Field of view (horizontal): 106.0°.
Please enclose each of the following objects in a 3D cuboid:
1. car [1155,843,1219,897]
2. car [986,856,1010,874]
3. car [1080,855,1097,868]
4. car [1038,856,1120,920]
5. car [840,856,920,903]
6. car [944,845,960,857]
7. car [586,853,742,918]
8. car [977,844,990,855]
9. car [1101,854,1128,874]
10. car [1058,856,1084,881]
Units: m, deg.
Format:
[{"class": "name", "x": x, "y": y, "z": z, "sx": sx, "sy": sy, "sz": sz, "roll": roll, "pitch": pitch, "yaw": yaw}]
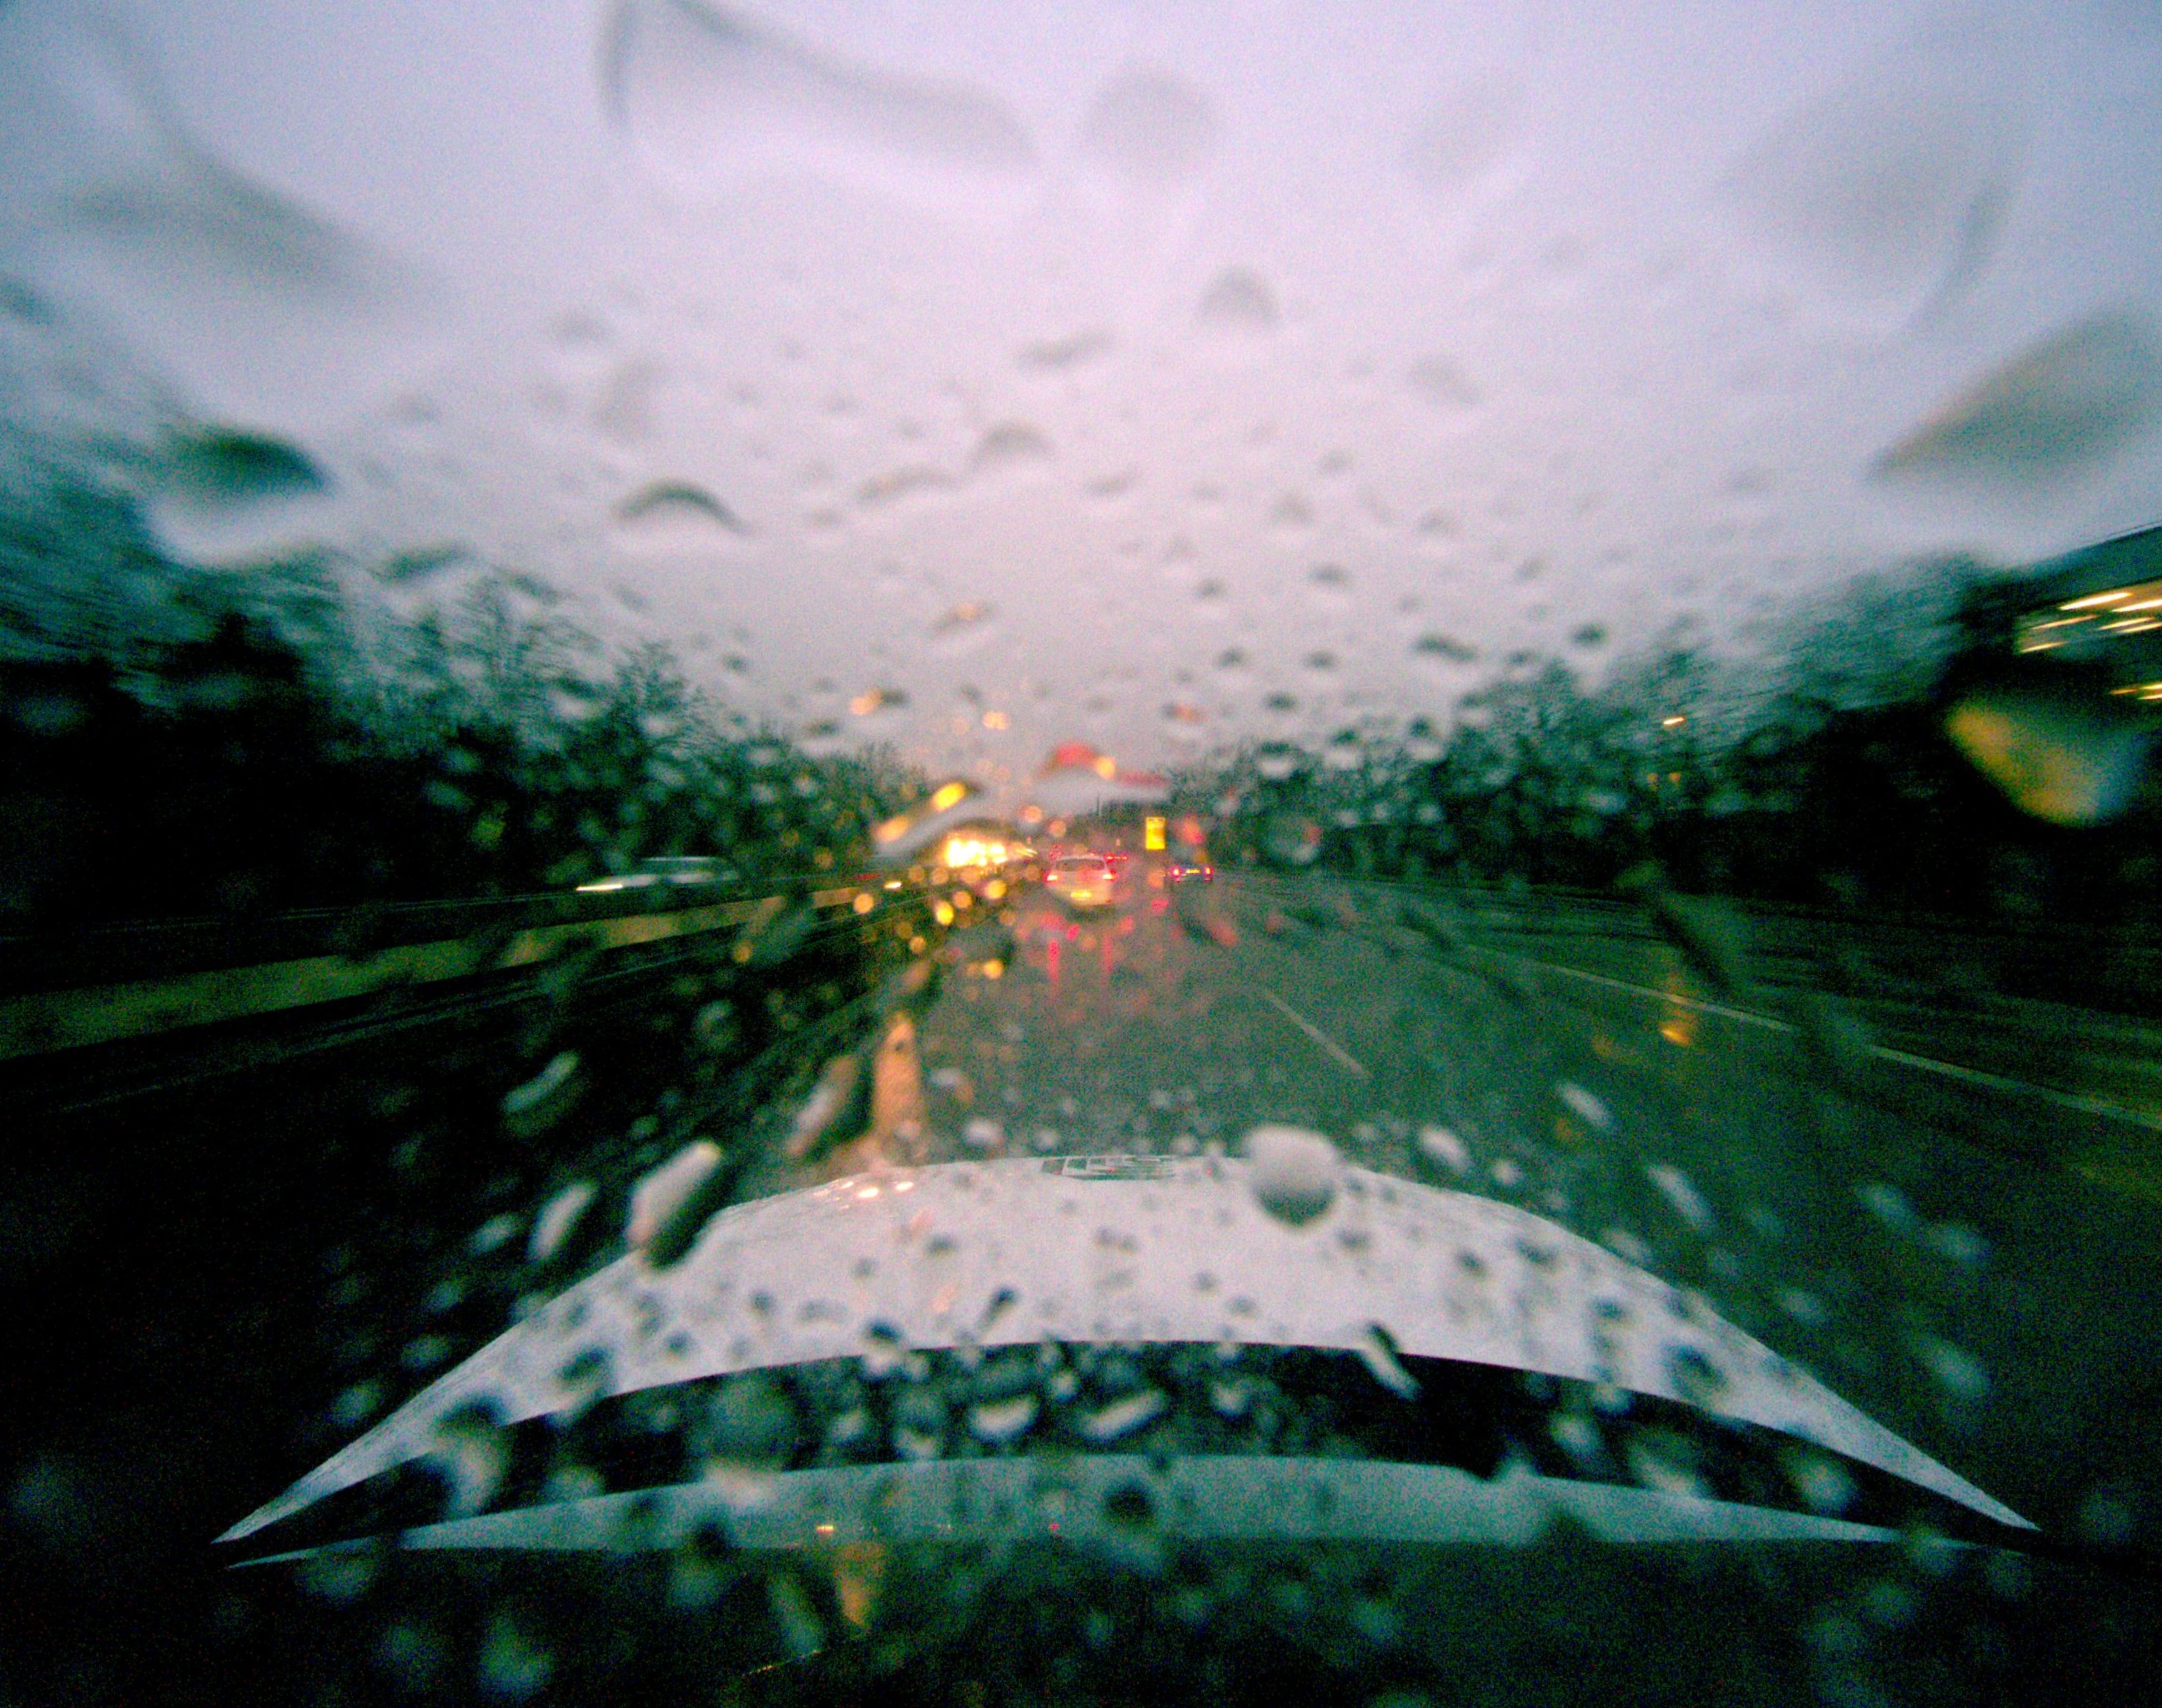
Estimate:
[{"class": "car", "x": 4.145, "y": 0.615, "z": 32.373, "sx": 1.927, "sy": 2.019, "sz": 3.770, "roll": 0, "pitch": 0, "yaw": -2}, {"class": "car", "x": -6.952, "y": 0.920, "z": 68.571, "sx": 1.648, "sy": 1.519, "sz": 3.504, "roll": 0, "pitch": 0, "yaw": 0}, {"class": "car", "x": 0.902, "y": 0.857, "z": 97.634, "sx": 1.926, "sy": 1.546, "sz": 3.773, "roll": 0, "pitch": 0, "yaw": 0}, {"class": "car", "x": -0.001, "y": 0.839, "z": 22.067, "sx": 2.017, "sy": 1.575, "sz": 4.001, "roll": 0, "pitch": 0, "yaw": 1}, {"class": "car", "x": -6.902, "y": 0.823, "z": 28.470, "sx": 1.611, "sy": 1.484, "sz": 4.599, "roll": 0, "pitch": 0, "yaw": 0}, {"class": "car", "x": -20.320, "y": -0.449, "z": 128.675, "sx": 1.875, "sy": 1.832, "sz": 4.783, "roll": 0, "pitch": 0, "yaw": -2}, {"class": "car", "x": -11.094, "y": 0.774, "z": 22.135, "sx": 1.698, "sy": 1.566, "sz": 4.850, "roll": 0, "pitch": 0, "yaw": 0}, {"class": "car", "x": -17.497, "y": -0.765, "z": 146.758, "sx": 1.878, "sy": 1.832, "sz": 4.783, "roll": 0, "pitch": 0, "yaw": -2}, {"class": "car", "x": 2.979, "y": 0.892, "z": 73.068, "sx": 1.929, "sy": 1.546, "sz": 3.767, "roll": -6, "pitch": -1, "yaw": -5}, {"class": "car", "x": -0.776, "y": 1.204, "z": 67.641, "sx": 1.986, "sy": 2.014, "sz": 4.001, "roll": 0, "pitch": 0, "yaw": 1}]
